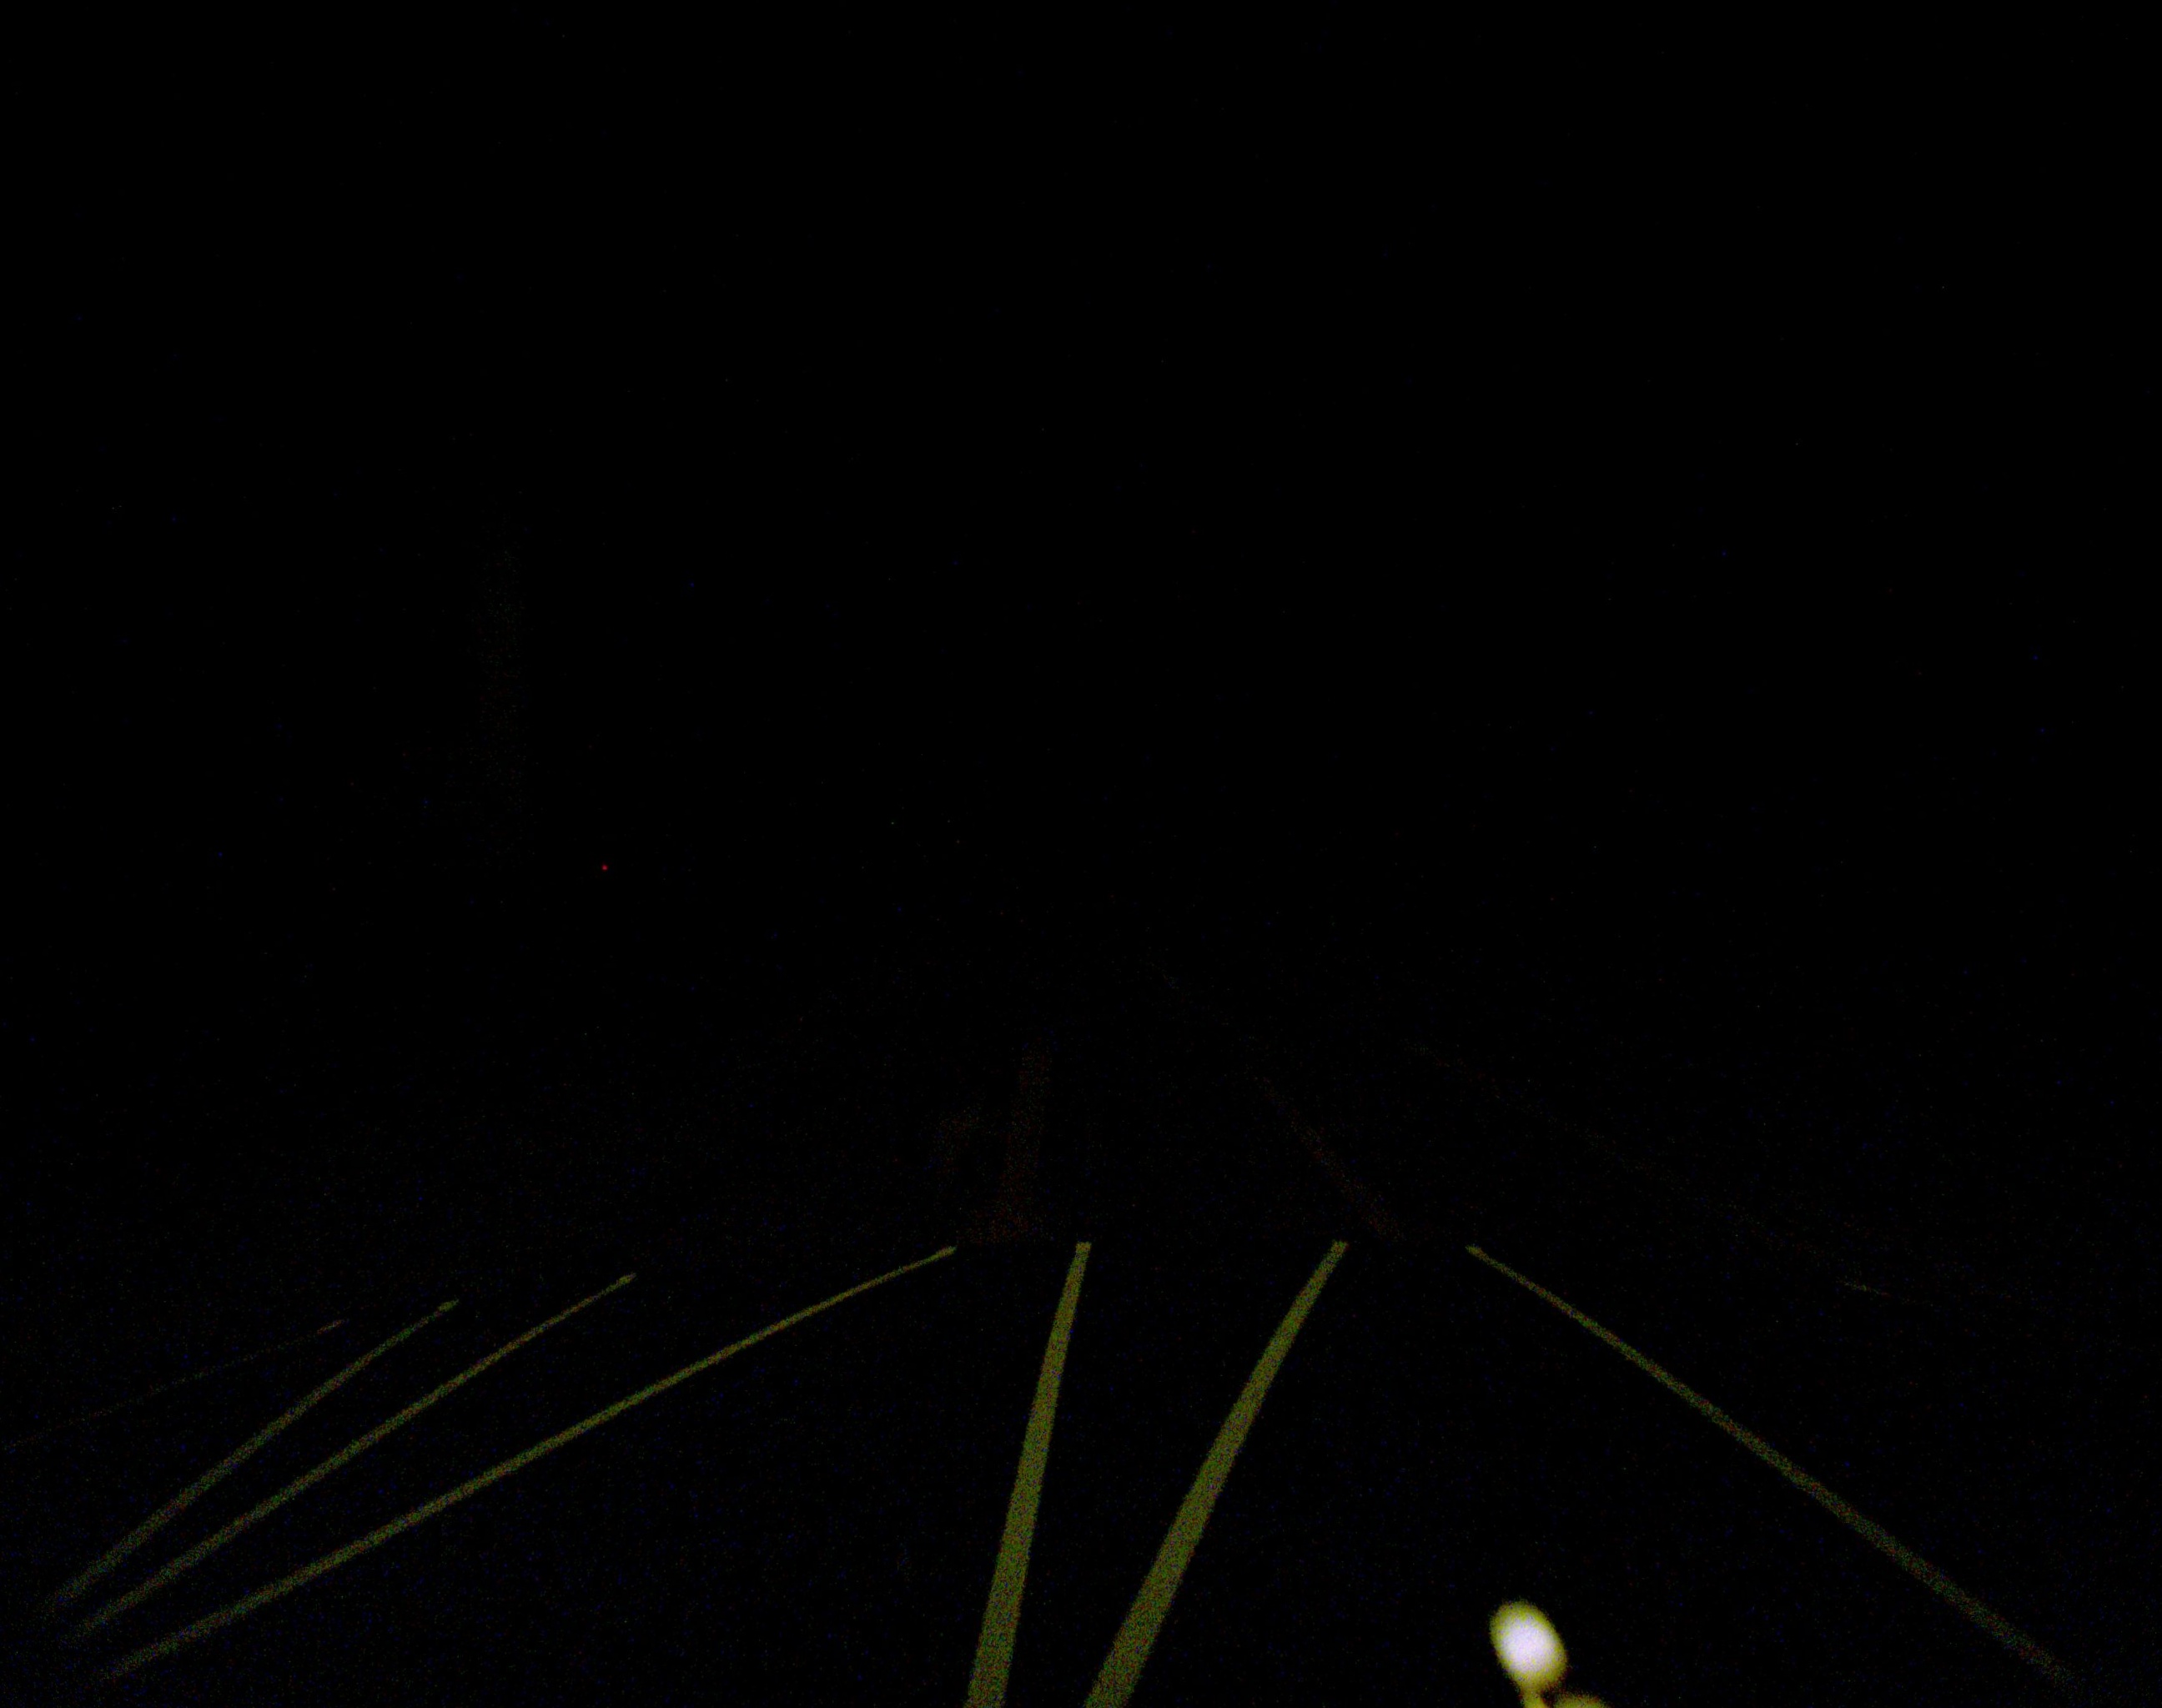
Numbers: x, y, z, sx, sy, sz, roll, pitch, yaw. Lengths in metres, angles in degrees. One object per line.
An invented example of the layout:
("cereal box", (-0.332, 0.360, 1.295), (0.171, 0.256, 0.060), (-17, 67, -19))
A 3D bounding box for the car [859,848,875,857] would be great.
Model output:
("car", (-38.336, -0.251, 136.187), (1.773, 1.558, 4.682), (3, -1, -28))

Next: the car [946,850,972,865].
("car", (-14.694, 0.412, 91.160), (1.725, 1.568, 4.524), (2, 1, -27))

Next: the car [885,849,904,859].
("car", (-29.183, 0.044, 119.014), (1.909, 1.357, 4.972), (1, 1, -26))

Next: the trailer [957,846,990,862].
("trailer", (-12.316, 0.000, 86.531), (2.034, 1.770, 5.660), (1, 1, -27))

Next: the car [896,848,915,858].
("car", (-26.181, -0.115, 113.400), (1.737, 1.357, 4.135), (1, 1, -28))
